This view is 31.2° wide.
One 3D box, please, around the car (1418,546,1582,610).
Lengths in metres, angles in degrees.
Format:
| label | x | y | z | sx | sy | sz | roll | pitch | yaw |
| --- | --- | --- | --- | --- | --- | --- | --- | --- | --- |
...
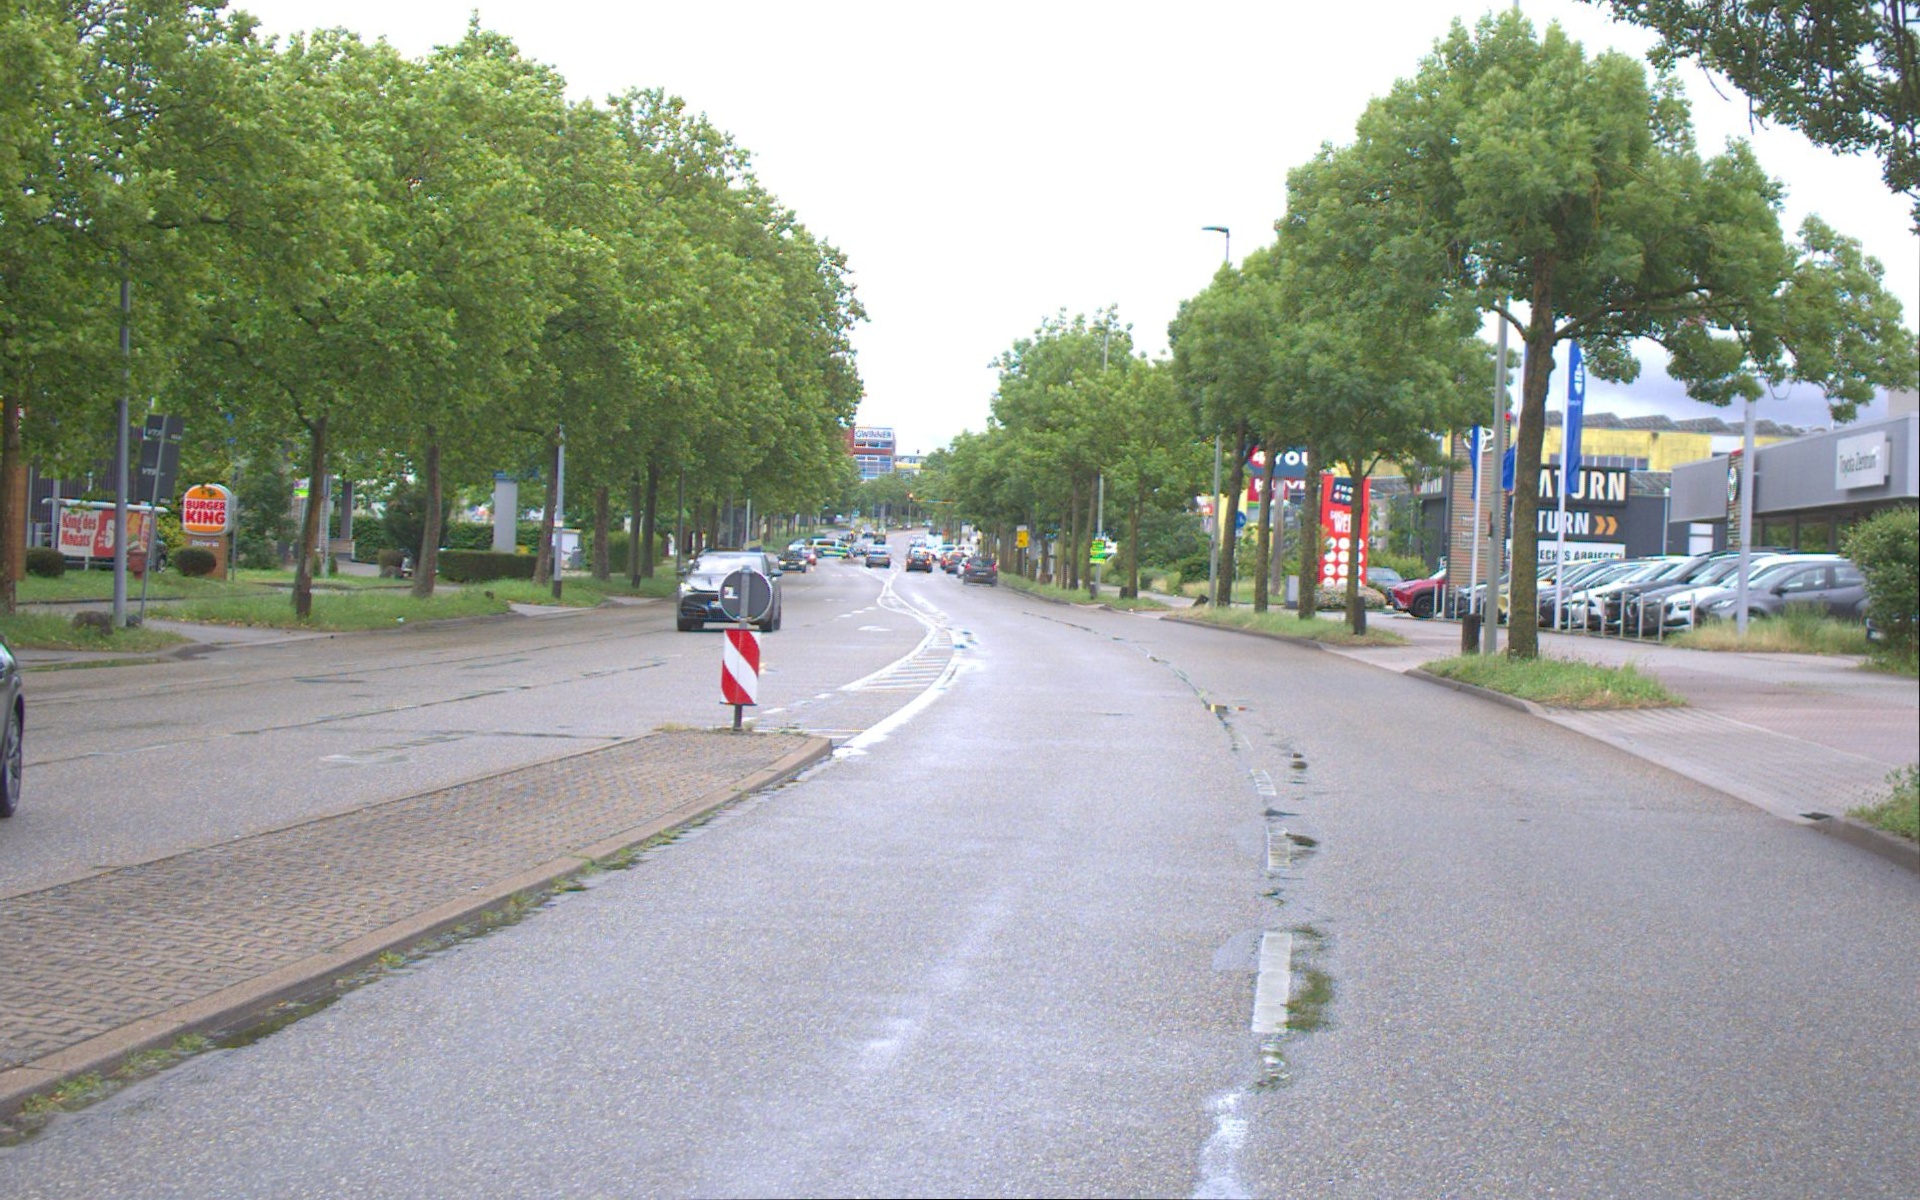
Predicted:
| label | x | y | z | sx | sy | sz | roll | pitch | yaw |
| --- | --- | --- | --- | --- | --- | --- | --- | --- | --- |
| car | 14.107 | -0.580 | 89.897 | 3.987 | 1.641 | 1.845 | 0 | 1 | 0 |

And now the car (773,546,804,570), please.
| label | x | y | z | sx | sy | sz | roll | pitch | yaw |
| --- | --- | --- | --- | --- | --- | --- | --- | --- | --- |
| car | -10.996 | -2.699 | 220.206 | 1.804 | 1.458 | 3.846 | 1 | 1 | -1 |

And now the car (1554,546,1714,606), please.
| label | x | y | z | sx | sy | sz | roll | pitch | yaw |
| --- | --- | --- | --- | --- | --- | --- | --- | --- | --- |
| car | 18.515 | -0.670 | 94.592 | 4.109 | 1.616 | 1.880 | 0 | 1 | 4 |

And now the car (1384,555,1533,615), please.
| label | x | y | z | sx | sy | sz | roll | pitch | yaw |
| --- | --- | --- | --- | --- | --- | --- | --- | --- | --- |
| car | 13.738 | -0.414 | 94.908 | 3.841 | 1.598 | 1.795 | -1 | 1 | 0 |

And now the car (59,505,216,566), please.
| label | x | y | z | sx | sy | sz | roll | pitch | yaw |
| --- | --- | --- | --- | --- | --- | --- | --- | --- | --- |
| car | -18.912 | -1.477 | 79.088 | 3.176 | 1.151 | 1.290 | 5 | 1 | 7 |

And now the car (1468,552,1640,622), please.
| label | x | y | z | sx | sy | sz | roll | pitch | yaw |
| --- | --- | --- | --- | --- | --- | --- | --- | --- | --- |
| car | 14.548 | -0.325 | 84.267 | 3.838 | 1.560 | 1.667 | -2 | 1 | -3 |

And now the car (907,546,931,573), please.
| label | x | y | z | sx | sy | sz | roll | pitch | yaw |
| --- | --- | --- | --- | --- | --- | --- | --- | --- | --- |
| car | -3.104 | -3.056 | 259.784 | 1.745 | 2.007 | 4.000 | 1 | 1 | 0 |

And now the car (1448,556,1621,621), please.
| label | x | y | z | sx | sy | sz | roll | pitch | yaw |
| --- | --- | --- | --- | --- | --- | --- | --- | --- | --- |
| car | 14.365 | -0.296 | 86.165 | 3.987 | 1.533 | 1.800 | 1 | 1 | -1 |

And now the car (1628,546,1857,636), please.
| label | x | y | z | sx | sy | sz | roll | pitch | yaw |
| --- | --- | --- | --- | --- | --- | --- | --- | --- | --- |
| car | 15.061 | -0.183 | 66.316 | 3.987 | 1.538 | 1.812 | -2 | 1 | 2 |

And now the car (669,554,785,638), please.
| label | x | y | z | sx | sy | sz | roll | pitch | yaw |
| --- | --- | --- | --- | --- | --- | --- | --- | --- | --- |
| car | -4.594 | -0.084 | 68.319 | 1.811 | 1.556 | 4.598 | 1 | 0 | 2 |

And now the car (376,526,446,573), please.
| label | x | y | z | sx | sy | sz | roll | pitch | yaw |
| --- | --- | --- | --- | --- | --- | --- | --- | --- | --- |
| car | -18.220 | -1.677 | 114.206 | 1.823 | 1.481 | 3.940 | 1 | 1 | -2 |

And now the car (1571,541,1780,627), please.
| label | x | y | z | sx | sy | sz | roll | pitch | yaw |
| --- | --- | --- | --- | --- | --- | --- | --- | --- | --- |
| car | 15.260 | -0.345 | 73.472 | 3.987 | 1.582 | 1.812 | -3 | 1 | -2 |

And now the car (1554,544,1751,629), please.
| label | x | y | z | sx | sy | sz | roll | pitch | yaw |
| --- | --- | --- | --- | --- | --- | --- | --- | --- | --- |
| car | 15.311 | -0.315 | 76.122 | 3.987 | 1.780 | 1.812 | 1 | 1 | 2 |

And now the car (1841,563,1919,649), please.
| label | x | y | z | sx | sy | sz | roll | pitch | yaw |
| --- | --- | --- | --- | --- | --- | --- | --- | --- | --- |
| car | 17.542 | 0.120 | 60.321 | 3.679 | 1.459 | 1.794 | 1 | 1 | 1 |

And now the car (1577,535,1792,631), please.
| label | x | y | z | sx | sy | sz | roll | pitch | yaw |
| --- | --- | --- | --- | --- | --- | --- | --- | --- | --- |
| car | 14.862 | -0.353 | 70.684 | 3.987 | 1.780 | 1.812 | -3 | 1 | 2 |

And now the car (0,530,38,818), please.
| label | x | y | z | sx | sy | sz | roll | pitch | yaw |
| --- | --- | --- | --- | --- | --- | --- | --- | --- | --- |
| car | -5.726 | 0.388 | 16.967 | 1.642 | 1.503 | 3.894 | 1 | 1 | -6 |

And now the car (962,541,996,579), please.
| label | x | y | z | sx | sy | sz | roll | pitch | yaw |
| --- | --- | --- | --- | --- | --- | --- | --- | --- | --- |
| car | 1.031 | -2.174 | 186.533 | 1.745 | 2.007 | 4.000 | 2 | 1 | 0 |

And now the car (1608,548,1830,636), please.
| label | x | y | z | sx | sy | sz | roll | pitch | yaw |
| --- | --- | --- | --- | --- | --- | --- | --- | --- | --- |
| car | 15.108 | -0.169 | 68.570 | 3.987 | 1.579 | 1.812 | -2 | 1 | 2 |

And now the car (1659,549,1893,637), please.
| label | x | y | z | sx | sy | sz | roll | pitch | yaw |
| --- | --- | --- | --- | --- | --- | --- | --- | --- | --- |
| car | 15.089 | -0.137 | 63.675 | 3.832 | 1.456 | 1.828 | -2 | 1 | -1 |
